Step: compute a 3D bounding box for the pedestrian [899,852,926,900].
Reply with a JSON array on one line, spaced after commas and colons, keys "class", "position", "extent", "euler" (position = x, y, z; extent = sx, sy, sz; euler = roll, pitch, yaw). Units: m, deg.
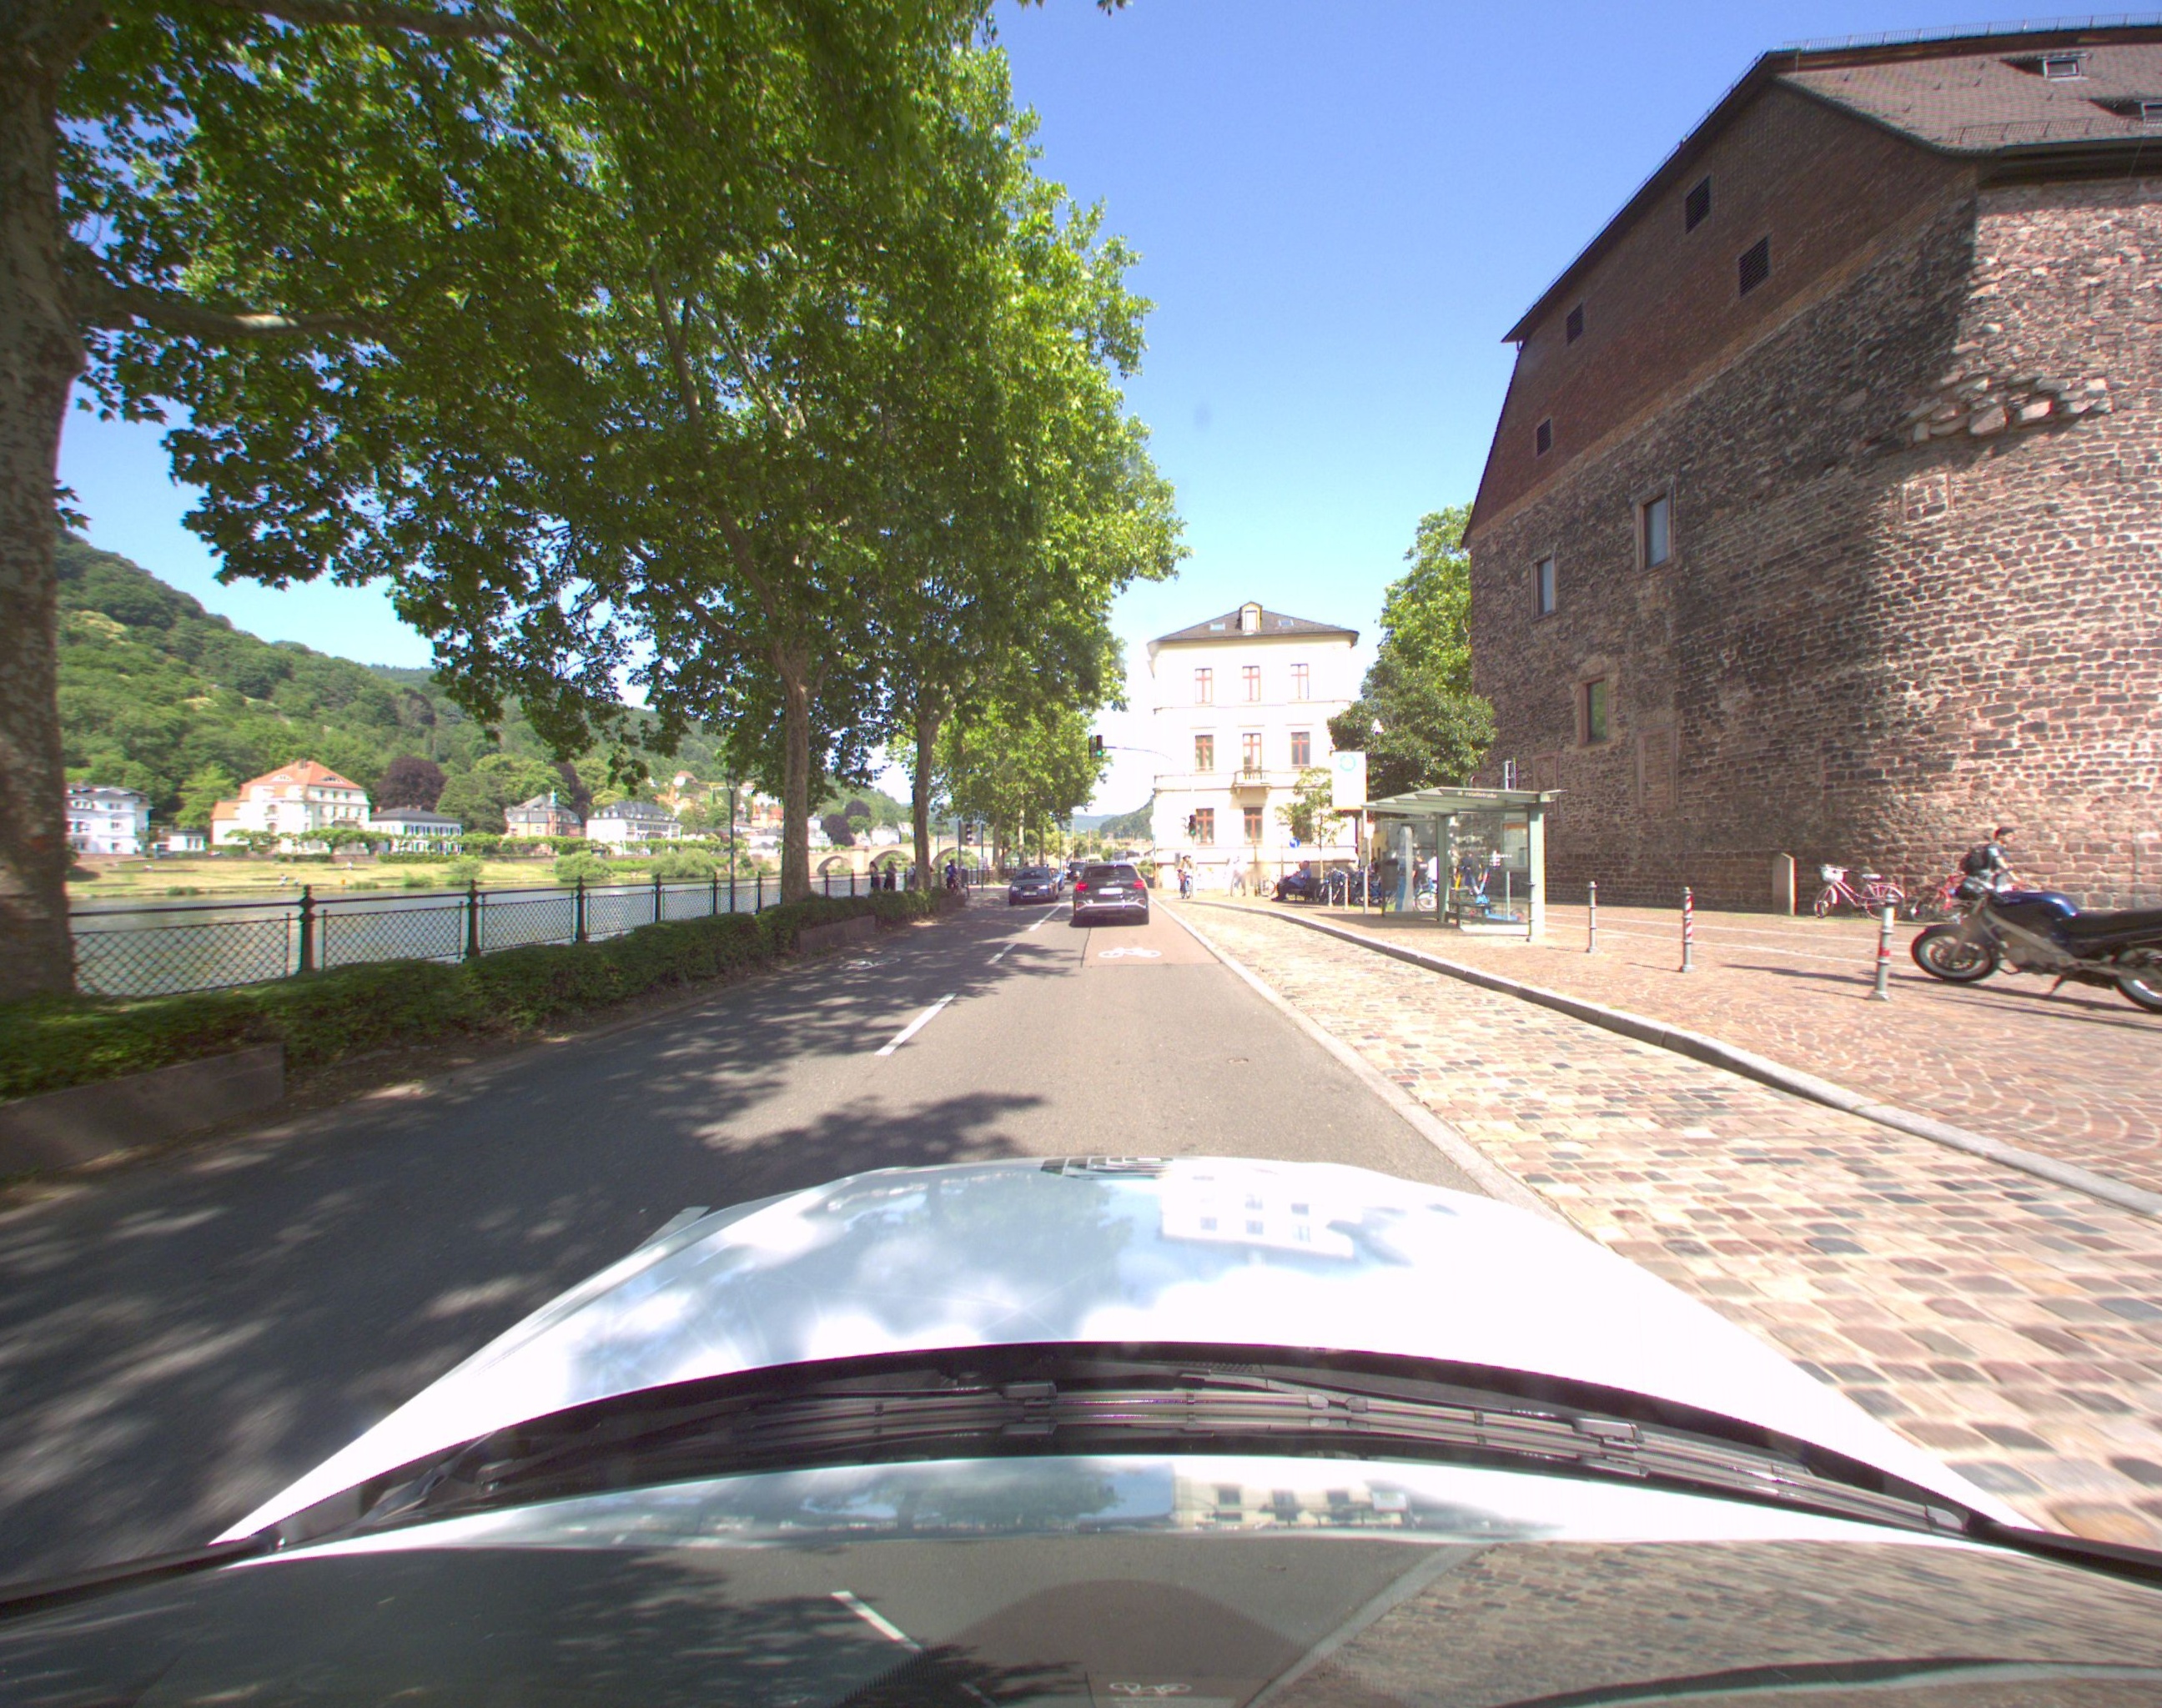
[{"class": "pedestrian", "position": [-7.334, 0.953, 35.472], "extent": [0.906, 2.014, 0.587], "euler": [1, -1, 6]}]

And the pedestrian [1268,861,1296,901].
[{"class": "pedestrian", "position": [6.394, 0.865, 25.924], "extent": [0.662, 1.231, 0.640], "euler": [2, -1, -4]}]

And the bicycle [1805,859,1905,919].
[{"class": "bicycle", "position": [16.412, 0.717, 17.315], "extent": [0.388, 1.209, 1.715], "euler": [2, -1, -6]}]

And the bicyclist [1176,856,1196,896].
[{"class": "bicyclist", "position": [3.884, 0.810, 30.068], "extent": [0.603, 1.450, 0.590], "euler": [2, -1, -3]}]

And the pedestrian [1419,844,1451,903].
[{"class": "pedestrian", "position": [11.589, 0.652, 26.687], "extent": [0.666, 1.884, 0.821], "euler": [2, -1, 1]}]

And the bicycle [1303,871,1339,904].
[{"class": "bicycle", "position": [7.756, 1.083, 26.305], "extent": [1.187, 1.016, 0.178], "euler": [2, -2, -17]}]

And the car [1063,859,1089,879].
[{"class": "car", "position": [-0.409, 1.344, 73.171], "extent": [1.985, 1.626, 4.004], "euler": [2, -1, 4]}]

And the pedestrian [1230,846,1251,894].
[{"class": "pedestrian", "position": [6.701, 0.670, 34.248], "extent": [0.632, 2.014, 0.670], "euler": [1, -2, 32]}]

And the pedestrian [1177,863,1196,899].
[{"class": "pedestrian", "position": [4.415, 1.120, 34.138], "extent": [0.691, 1.500, 0.513], "euler": [2, -1, -2]}]

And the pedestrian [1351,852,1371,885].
[{"class": "pedestrian", "position": [17.464, 0.877, 50.830], "extent": [0.941, 2.014, 0.808], "euler": [2, -1, 2]}]

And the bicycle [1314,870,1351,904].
[{"class": "bicycle", "position": [7.930, 1.040, 25.655], "extent": [1.204, 1.035, 0.178], "euler": [2, -2, -17]}]

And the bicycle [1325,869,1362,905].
[{"class": "bicycle", "position": [8.024, 1.016, 24.877], "extent": [1.160, 1.070, 0.178], "euler": [2, -2, -17]}]

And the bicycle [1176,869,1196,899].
[{"class": "bicycle", "position": [3.875, 1.092, 30.043], "extent": [0.436, 1.086, 1.676], "euler": [2, -1, -2]}]

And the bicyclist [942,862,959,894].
[{"class": "bicyclist", "position": [-5.347, 0.987, 33.372], "extent": [0.565, 1.311, 0.551], "euler": [2, -1, -2]}]

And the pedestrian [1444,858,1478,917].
[{"class": "pedestrian", "position": [9.128, 0.807, 19.575], "extent": [0.555, 1.385, 0.588], "euler": [1, -1, 5]}]

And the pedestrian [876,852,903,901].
[{"class": "pedestrian", "position": [-8.097, 0.943, 34.414], "extent": [0.906, 2.014, 0.587], "euler": [1, -1, 6]}]

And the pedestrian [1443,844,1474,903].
[{"class": "pedestrian", "position": [12.682, 0.652, 27.383], "extent": [0.666, 1.920, 0.821], "euler": [2, -1, 1]}]

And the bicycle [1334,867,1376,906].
[{"class": "bicycle", "position": [8.136, 0.967, 24.156], "extent": [1.306, 1.128, 0.178], "euler": [2, -2, -17]}]

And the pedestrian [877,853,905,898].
[{"class": "pedestrian", "position": [-7.833, 0.868, 33.636], "extent": [0.906, 1.811, 0.587], "euler": [1, -1, 6]}]

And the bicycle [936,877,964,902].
[{"class": "bicycle", "position": [-5.360, 1.451, 33.334], "extent": [1.091, 1.006, 0.303], "euler": [2, -2, -5]}]

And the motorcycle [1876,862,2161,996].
[{"class": "motorcycle", "position": [8.527, 0.579, 7.217], "extent": [0.564, 1.012, 2.490], "euler": [0, 0, 1]}]

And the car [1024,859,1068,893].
[{"class": "car", "position": [-1.931, 1.235, 46.110], "extent": [1.985, 1.807, 4.004], "euler": [2, -1, 4]}]

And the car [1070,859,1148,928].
[{"class": "car", "position": [0.711, 0.899, 20.199], "extent": [1.736, 1.509, 3.649], "euler": [-1, 0, 2]}]

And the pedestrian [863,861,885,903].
[{"class": "pedestrian", "position": [-8.230, 1.111, 32.355], "extent": [0.621, 1.619, 0.587], "euler": [1, -1, 6]}]

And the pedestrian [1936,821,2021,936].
[{"class": "pedestrian", "position": [15.888, 0.423, 14.425], "extent": [0.833, 1.949, 0.906], "euler": [0, -1, -36]}]

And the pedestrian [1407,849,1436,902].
[{"class": "pedestrian", "position": [11.729, 0.731, 28.069], "extent": [0.649, 1.802, 0.847], "euler": [1, -1, 1]}]

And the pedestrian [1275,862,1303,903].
[{"class": "pedestrian", "position": [6.435, 0.877, 25.230], "extent": [0.662, 1.212, 0.640], "euler": [2, -1, -4]}]

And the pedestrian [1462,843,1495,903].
[{"class": "pedestrian", "position": [13.836, 0.659, 28.386], "extent": [0.727, 2.014, 0.878], "euler": [2, -1, 2]}]

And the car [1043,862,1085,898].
[{"class": "car", "position": [-0.794, 1.220, 39.474], "extent": [1.786, 1.595, 3.401], "euler": [2, 0, 2]}]

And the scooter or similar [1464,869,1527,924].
[{"class": "scooter or similar", "position": [8.292, 0.843, 16.284], "extent": [1.085, 1.066, 0.323], "euler": [2, -1, 0]}]

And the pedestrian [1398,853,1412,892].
[{"class": "pedestrian", "position": [14.193, 0.798, 35.706], "extent": [0.447, 1.681, 0.467], "euler": [1, -1, 5]}]

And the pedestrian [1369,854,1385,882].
[{"class": "pedestrian", "position": [21.479, 0.991, 59.075], "extent": [0.836, 2.014, 0.739], "euler": [2, -1, 2]}]

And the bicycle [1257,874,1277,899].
[{"class": "bicycle", "position": [7.355, 1.286, 32.177], "extent": [0.299, 0.963, 1.184], "euler": [2, -1, -10]}]

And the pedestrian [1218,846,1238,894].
[{"class": "pedestrian", "position": [6.331, 0.691, 35.058], "extent": [0.632, 2.014, 0.670], "euler": [1, -2, 32]}]
